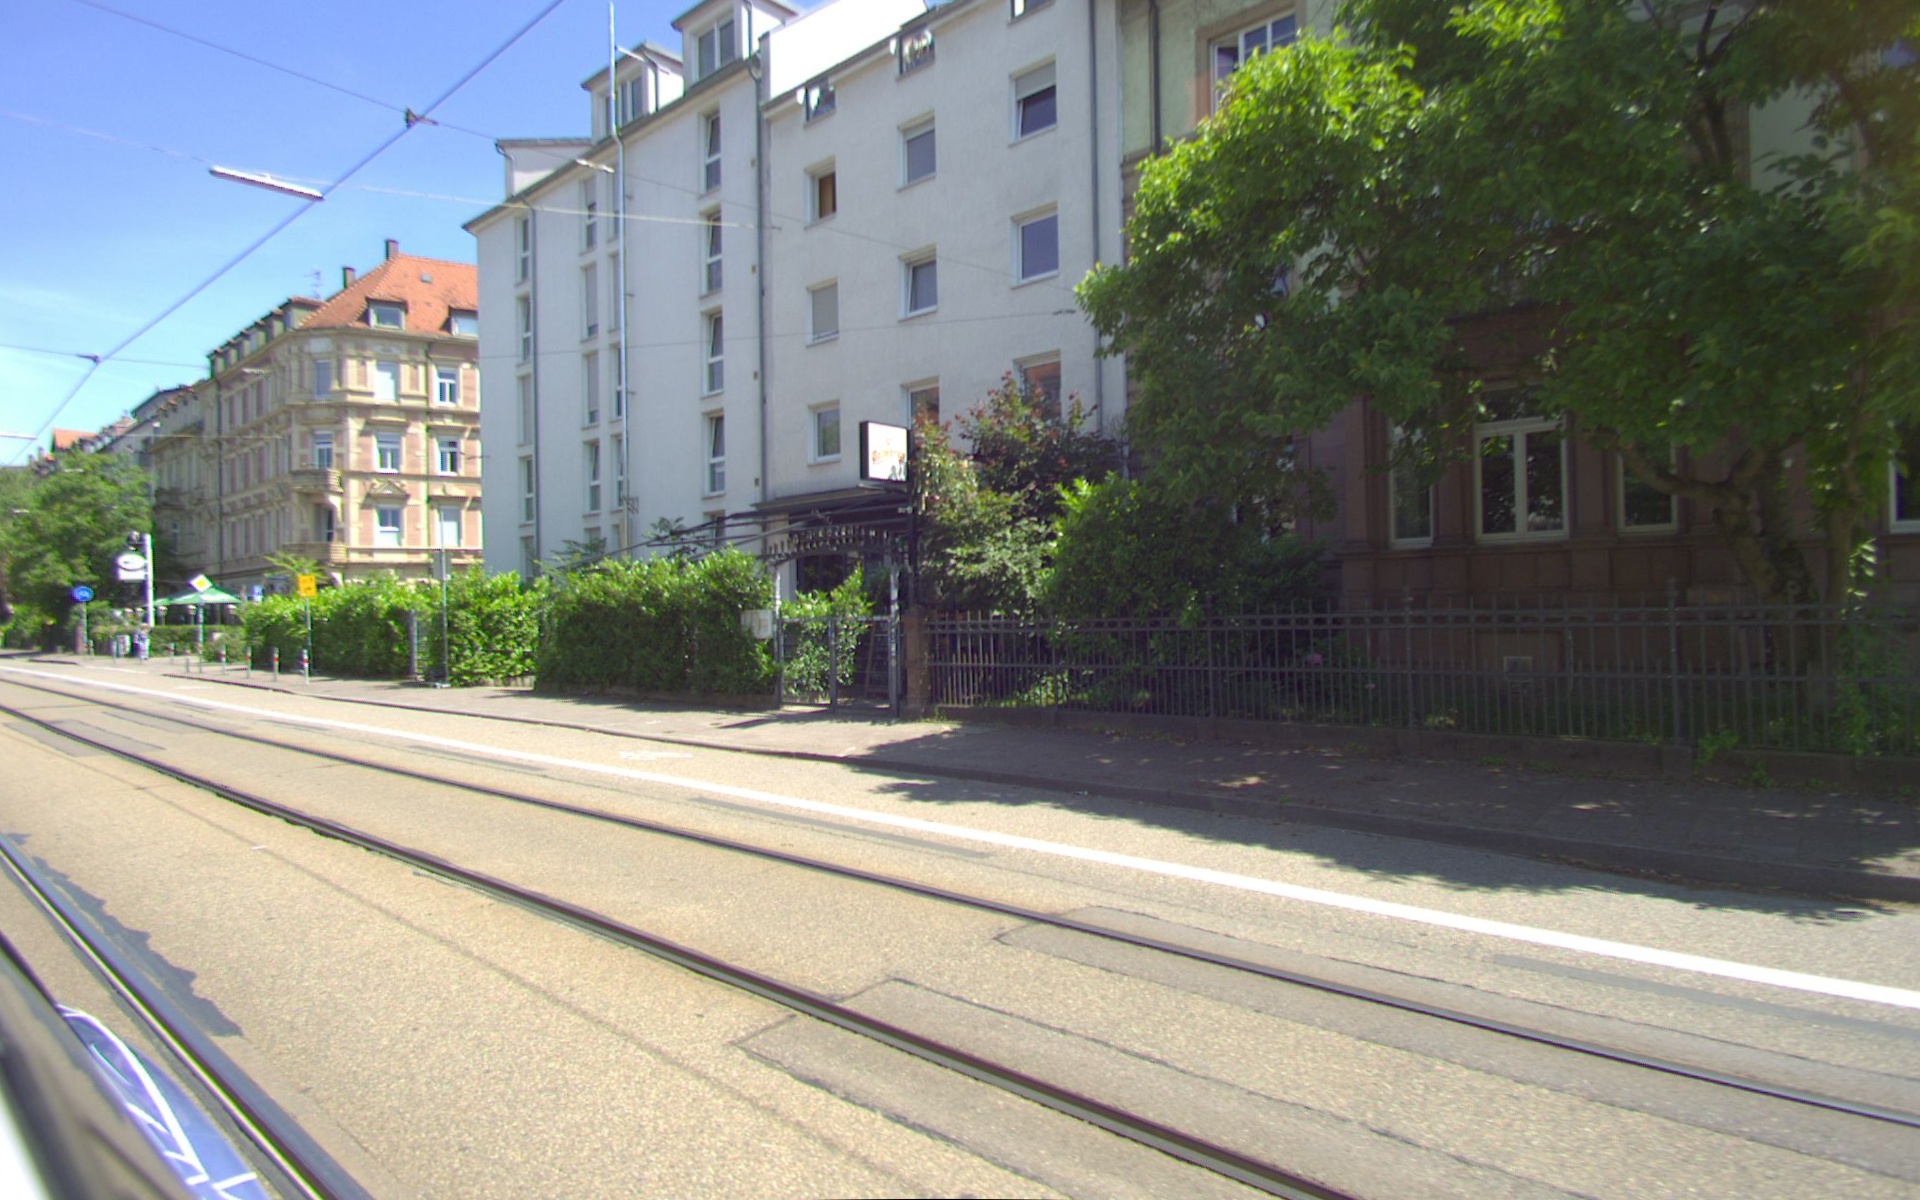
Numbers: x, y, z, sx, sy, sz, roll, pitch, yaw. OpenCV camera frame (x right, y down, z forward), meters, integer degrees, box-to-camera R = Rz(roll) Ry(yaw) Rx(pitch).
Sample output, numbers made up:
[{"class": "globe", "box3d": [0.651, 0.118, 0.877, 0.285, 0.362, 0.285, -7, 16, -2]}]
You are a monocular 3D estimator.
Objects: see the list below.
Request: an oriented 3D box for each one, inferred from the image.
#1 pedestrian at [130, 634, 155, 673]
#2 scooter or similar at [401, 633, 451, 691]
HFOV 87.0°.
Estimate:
[{"class": "pedestrian", "box3d": [-35.385, 2.326, 43.810, 0.939, 1.654, 0.732, -3, -2, 43]}, {"class": "scooter or similar", "box3d": [-13.899, 1.594, 26.343, 0.597, 1.462, 0.998, -2, -1, 40]}]
